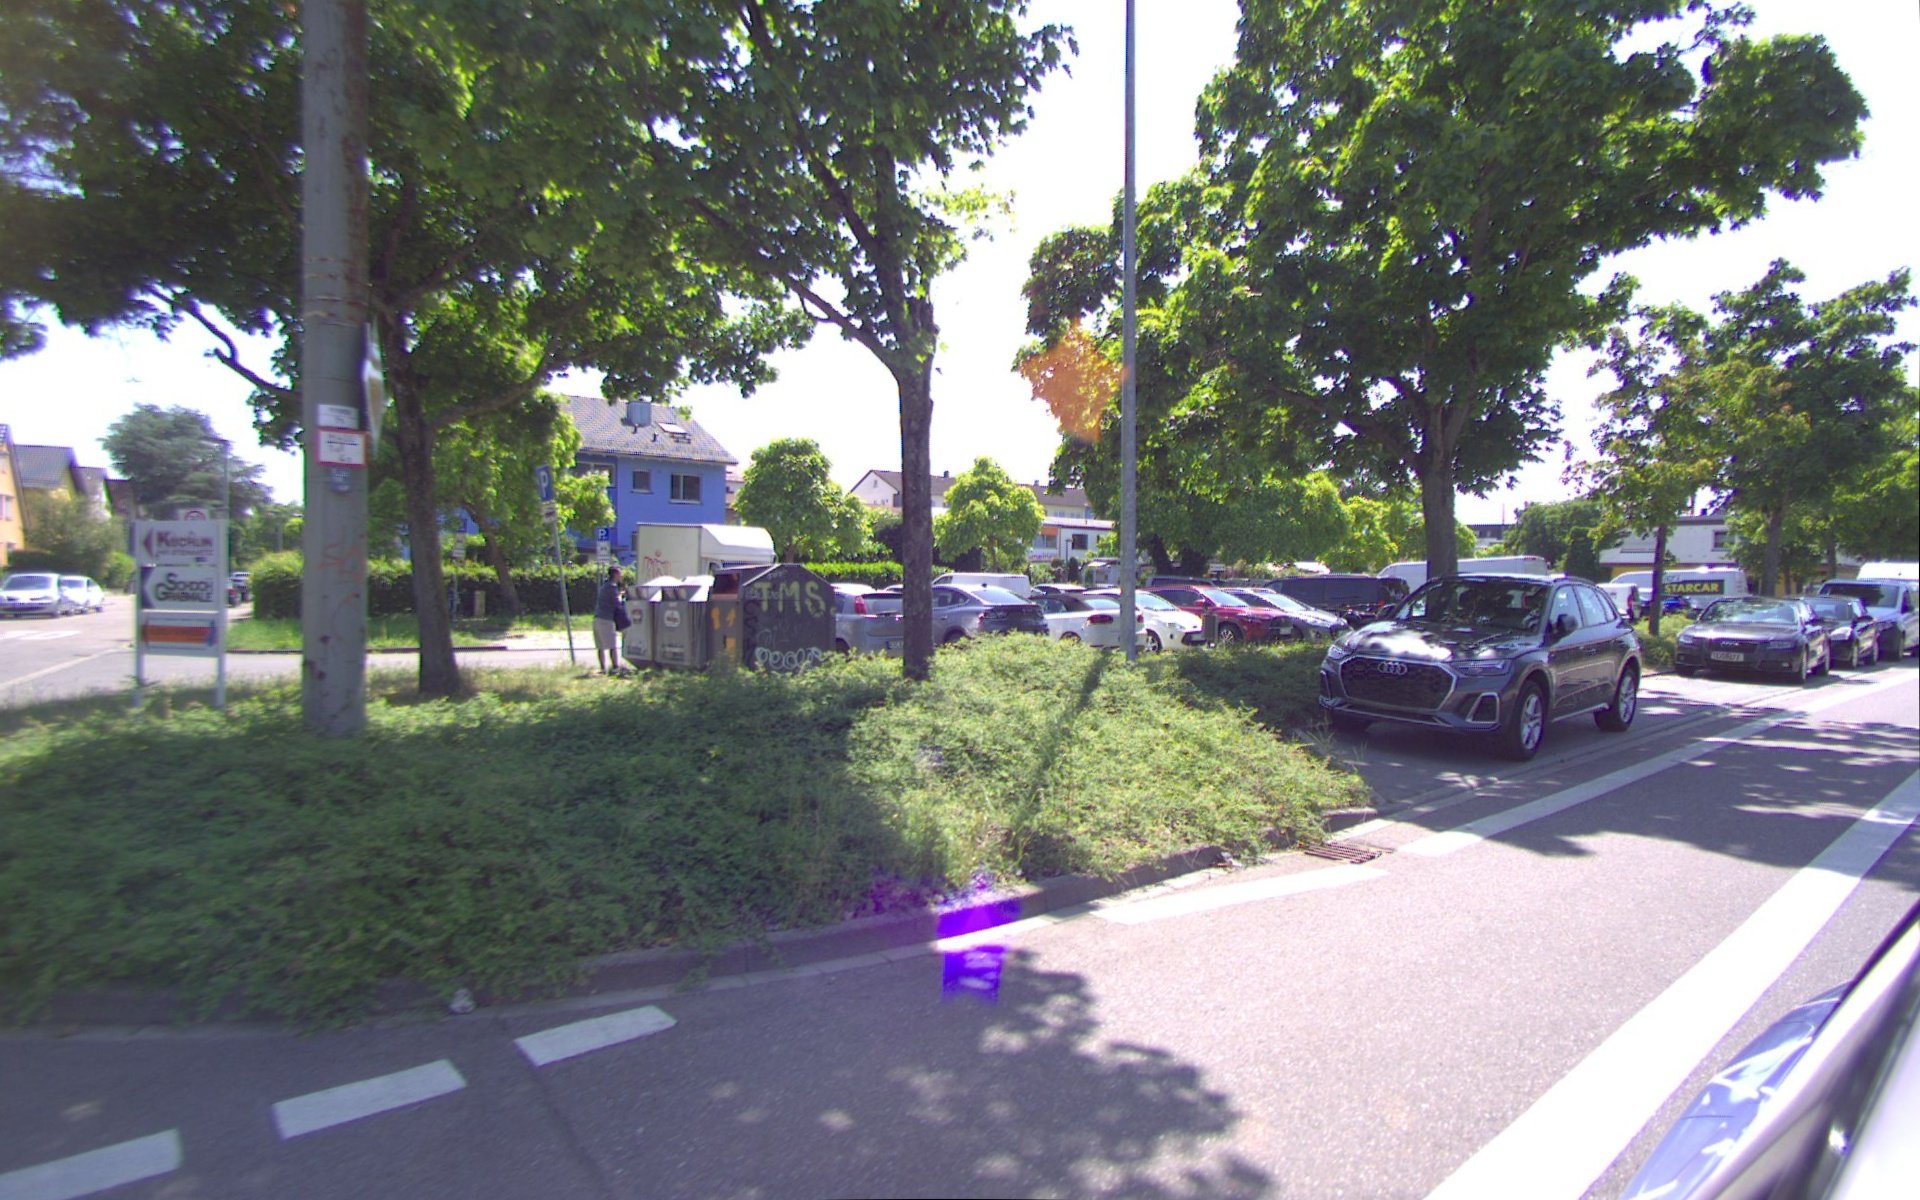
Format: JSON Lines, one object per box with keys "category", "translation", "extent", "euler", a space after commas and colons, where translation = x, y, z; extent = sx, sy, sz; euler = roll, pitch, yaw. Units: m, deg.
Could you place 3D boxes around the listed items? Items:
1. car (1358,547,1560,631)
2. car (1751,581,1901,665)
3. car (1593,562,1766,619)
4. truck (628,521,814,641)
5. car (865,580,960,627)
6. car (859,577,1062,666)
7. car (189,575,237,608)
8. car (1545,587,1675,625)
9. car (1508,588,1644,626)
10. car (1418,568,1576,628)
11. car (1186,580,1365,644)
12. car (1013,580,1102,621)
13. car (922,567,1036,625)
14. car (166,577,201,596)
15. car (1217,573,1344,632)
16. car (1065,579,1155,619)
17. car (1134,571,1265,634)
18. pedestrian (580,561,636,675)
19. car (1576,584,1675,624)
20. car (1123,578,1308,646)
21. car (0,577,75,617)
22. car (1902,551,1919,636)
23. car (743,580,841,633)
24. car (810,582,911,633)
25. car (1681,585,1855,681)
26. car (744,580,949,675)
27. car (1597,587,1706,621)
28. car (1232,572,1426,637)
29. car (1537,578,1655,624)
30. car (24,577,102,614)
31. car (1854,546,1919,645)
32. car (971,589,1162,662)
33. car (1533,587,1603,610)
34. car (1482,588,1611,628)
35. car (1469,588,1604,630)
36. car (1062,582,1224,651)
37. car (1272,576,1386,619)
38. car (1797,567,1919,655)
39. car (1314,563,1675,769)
{"category": "car", "translation": [16.048, -0.292, 32.851], "extent": [2.057, 2.491, 5.501], "euler": [0, -1, -39]}
{"category": "car", "translation": [18.508, 0.447, 21.586], "extent": [3.770, 1.559, 1.717], "euler": [0, 3, -39]}
{"category": "car", "translation": [34.415, -0.371, 48.639], "extent": [2.221, 2.561, 6.357], "euler": [0, -1, -37]}
{"category": "truck", "translation": [-7.228, -0.670, 29.835], "extent": [2.382, 3.123, 6.961], "euler": [0, 3, -41]}
{"category": "car", "translation": [-1.682, 0.084, 35.032], "extent": [1.651, 1.446, 3.344], "euler": [0, 3, -38]}
{"category": "car", "translation": [-0.078, 0.393, 19.293], "extent": [1.740, 1.508, 3.864], "euler": [0, -1, -42]}
{"category": "car", "translation": [-37.663, -0.431, 51.096], "extent": [1.687, 1.602, 3.796], "euler": [0, 0, -32]}
{"category": "car", "translation": [28.131, 0.281, 43.915], "extent": [1.921, 1.525, 4.410], "euler": [0, -1, -43]}
{"category": "car", "translation": [24.193, 0.295, 39.851], "extent": [1.698, 1.424, 4.281], "euler": [0, -1, -42]}
{"category": "car", "translation": [18.364, -0.033, 34.753], "extent": [1.922, 1.933, 4.408], "euler": [0, -1, -44]}
{"category": "car", "translation": [7.964, 0.317, 25.817], "extent": [1.739, 1.510, 4.026], "euler": [0, -1, -41]}
{"category": "car", "translation": [3.814, -0.002, 39.888], "extent": [1.651, 1.446, 3.344], "euler": [0, 3, -38]}
{"category": "car", "translation": [0.618, -0.178, 35.839], "extent": [1.724, 1.830, 4.005], "euler": [0, 3, -43]}
{"category": "car", "translation": [-56.648, -0.993, 73.895], "extent": [1.687, 1.363, 3.796], "euler": [0, 0, -32]}
{"category": "car", "translation": [15.225, 0.045, 48.366], "extent": [2.057, 2.489, 5.505], "euler": [0, 3, -39]}
{"category": "car", "translation": [6.020, -0.059, 40.868], "extent": [1.651, 1.446, 3.344], "euler": [0, 3, -38]}
{"category": "car", "translation": [10.506, 0.022, 44.877], "extent": [2.057, 2.489, 5.505], "euler": [0, 3, -39]}
{"category": "pedestrian", "translation": [-5.625, 0.275, 16.171], "extent": [0.676, 1.779, 0.679], "euler": [0, 0, -37]}
{"category": "car", "translation": [30.056, 0.189, 45.759], "extent": [1.697, 1.739, 3.378], "euler": [0, -1, -40]}
{"category": "car", "translation": [6.047, 0.294, 24.281], "extent": [1.739, 1.510, 4.026], "euler": [0, -1, -41]}
{"category": "car", "translation": [-32.884, -0.120, 35.886], "extent": [1.687, 1.363, 3.796], "euler": [0, 0, -32]}
{"category": "car", "translation": [33.238, -0.166, 33.692], "extent": [5.972, 2.668, 2.002], "euler": [0, 3, -41]}
{"category": "car", "translation": [-5.306, 0.161, 31.715], "extent": [1.651, 1.446, 3.344], "euler": [0, 3, -38]}
{"category": "car", "translation": [-3.285, 0.206, 32.942], "extent": [1.651, 1.446, 3.475], "euler": [0, 3, -38]}
{"category": "car", "translation": [14.682, 0.512, 18.299], "extent": [4.628, 1.435, 1.715], "euler": [0, 3, -43]}
{"category": "car", "translation": [-2.127, 0.465, 18.142], "extent": [1.740, 1.508, 3.864], "euler": [0, -1, -42]}
{"category": "car", "translation": [32.097, 0.203, 47.048], "extent": [1.698, 1.491, 3.890], "euler": [0, -1, -42]}
{"category": "car", "translation": [10.084, 0.149, 27.982], "extent": [1.919, 1.665, 4.702], "euler": [0, -1, -39]}
{"category": "car", "translation": [26.380, 0.061, 42.039], "extent": [1.922, 1.807, 3.781], "euler": [0, -1, -44]}
{"category": "car", "translation": [-35.247, -0.197, 39.839], "extent": [1.687, 1.363, 3.796], "euler": [0, 0, -32]}
{"category": "car", "translation": [28.054, -0.126, 29.557], "extent": [6.035, 2.668, 2.002], "euler": [0, 3, -41]}
{"category": "car", "translation": [2.118, 0.503, 21.016], "extent": [1.738, 1.375, 3.868], "euler": [0, -1, -39]}
{"category": "car", "translation": [44.093, -0.110, 73.473], "extent": [1.603, 1.454, 3.990], "euler": [0, 3, -39]}
{"category": "car", "translation": [22.088, 0.321, 38.201], "extent": [1.698, 1.424, 3.890], "euler": [0, -1, -42]}
{"category": "car", "translation": [20.689, 0.348, 36.397], "extent": [1.699, 1.424, 3.888], "euler": [0, -1, -44]}
{"category": "car", "translation": [4.087, 0.371, 22.899], "extent": [1.652, 1.447, 3.341], "euler": [0, -1, -39]}
{"category": "car", "translation": [18.815, -0.166, 51.764], "extent": [2.057, 1.899, 5.110], "euler": [0, 3, -39]}
{"category": "car", "translation": [22.828, 0.236, 25.177], "extent": [5.180, 1.901, 2.003], "euler": [0, 3, -39]}
{"category": "car", "translation": [5.720, 0.494, 10.547], "extent": [4.626, 1.652, 1.716], "euler": [-1, 4, -41]}
